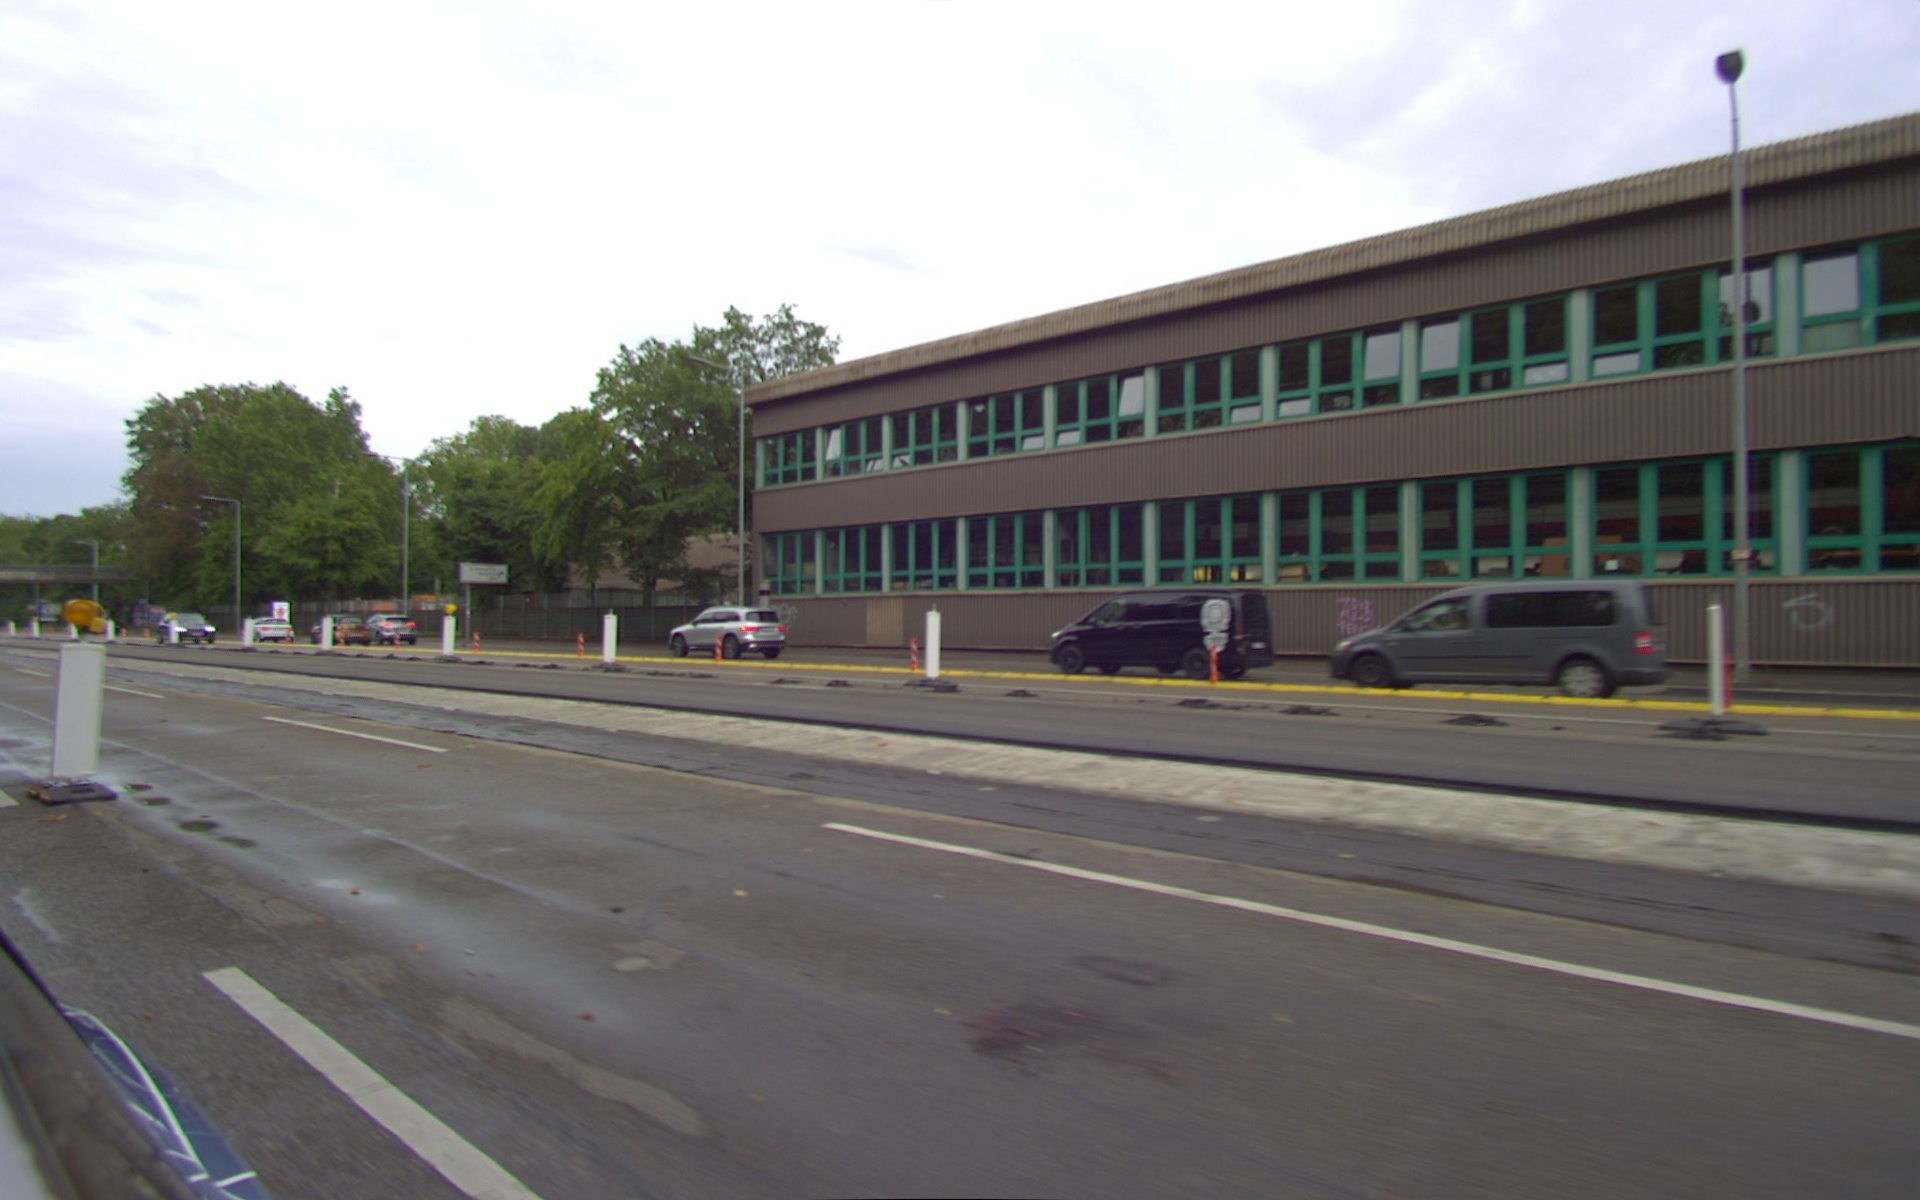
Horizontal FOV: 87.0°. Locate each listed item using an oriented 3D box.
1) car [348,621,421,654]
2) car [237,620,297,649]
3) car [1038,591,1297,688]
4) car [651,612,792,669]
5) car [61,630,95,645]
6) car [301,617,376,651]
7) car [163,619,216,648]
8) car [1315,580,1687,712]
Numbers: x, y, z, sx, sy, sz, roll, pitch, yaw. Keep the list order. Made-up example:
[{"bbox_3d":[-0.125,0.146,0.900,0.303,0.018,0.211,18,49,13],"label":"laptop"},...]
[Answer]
[{"bbox_3d":[-29.810,1.914,52.390,4.176,1.598,1.973,-2,-1,40],"label":"car"},{"bbox_3d":[-39.206,1.939,57.214,3.989,1.546,1.785,-2,-1,40],"label":"car"},{"bbox_3d":[4.520,0.828,22.609,5.358,1.933,1.974,-2,-1,39],"label":"car"},{"bbox_3d":[-7.930,1.315,33.364,4.930,1.719,1.919,-2,-1,39],"label":"car"},{"bbox_3d":[-90.100,3.814,103.393,4.260,1.440,1.974,-2,-1,39],"label":"car"},{"bbox_3d":[-29.959,1.617,48.758,4.514,1.513,1.874,-2,-1,42],"label":"car"},{"bbox_3d":[-50.962,2.204,66.904,4.673,1.781,1.968,-2,-1,42],"label":"car"},{"bbox_3d":[8.497,0.673,16.177,4.949,1.794,1.974,-2,-1,39],"label":"car"}]
